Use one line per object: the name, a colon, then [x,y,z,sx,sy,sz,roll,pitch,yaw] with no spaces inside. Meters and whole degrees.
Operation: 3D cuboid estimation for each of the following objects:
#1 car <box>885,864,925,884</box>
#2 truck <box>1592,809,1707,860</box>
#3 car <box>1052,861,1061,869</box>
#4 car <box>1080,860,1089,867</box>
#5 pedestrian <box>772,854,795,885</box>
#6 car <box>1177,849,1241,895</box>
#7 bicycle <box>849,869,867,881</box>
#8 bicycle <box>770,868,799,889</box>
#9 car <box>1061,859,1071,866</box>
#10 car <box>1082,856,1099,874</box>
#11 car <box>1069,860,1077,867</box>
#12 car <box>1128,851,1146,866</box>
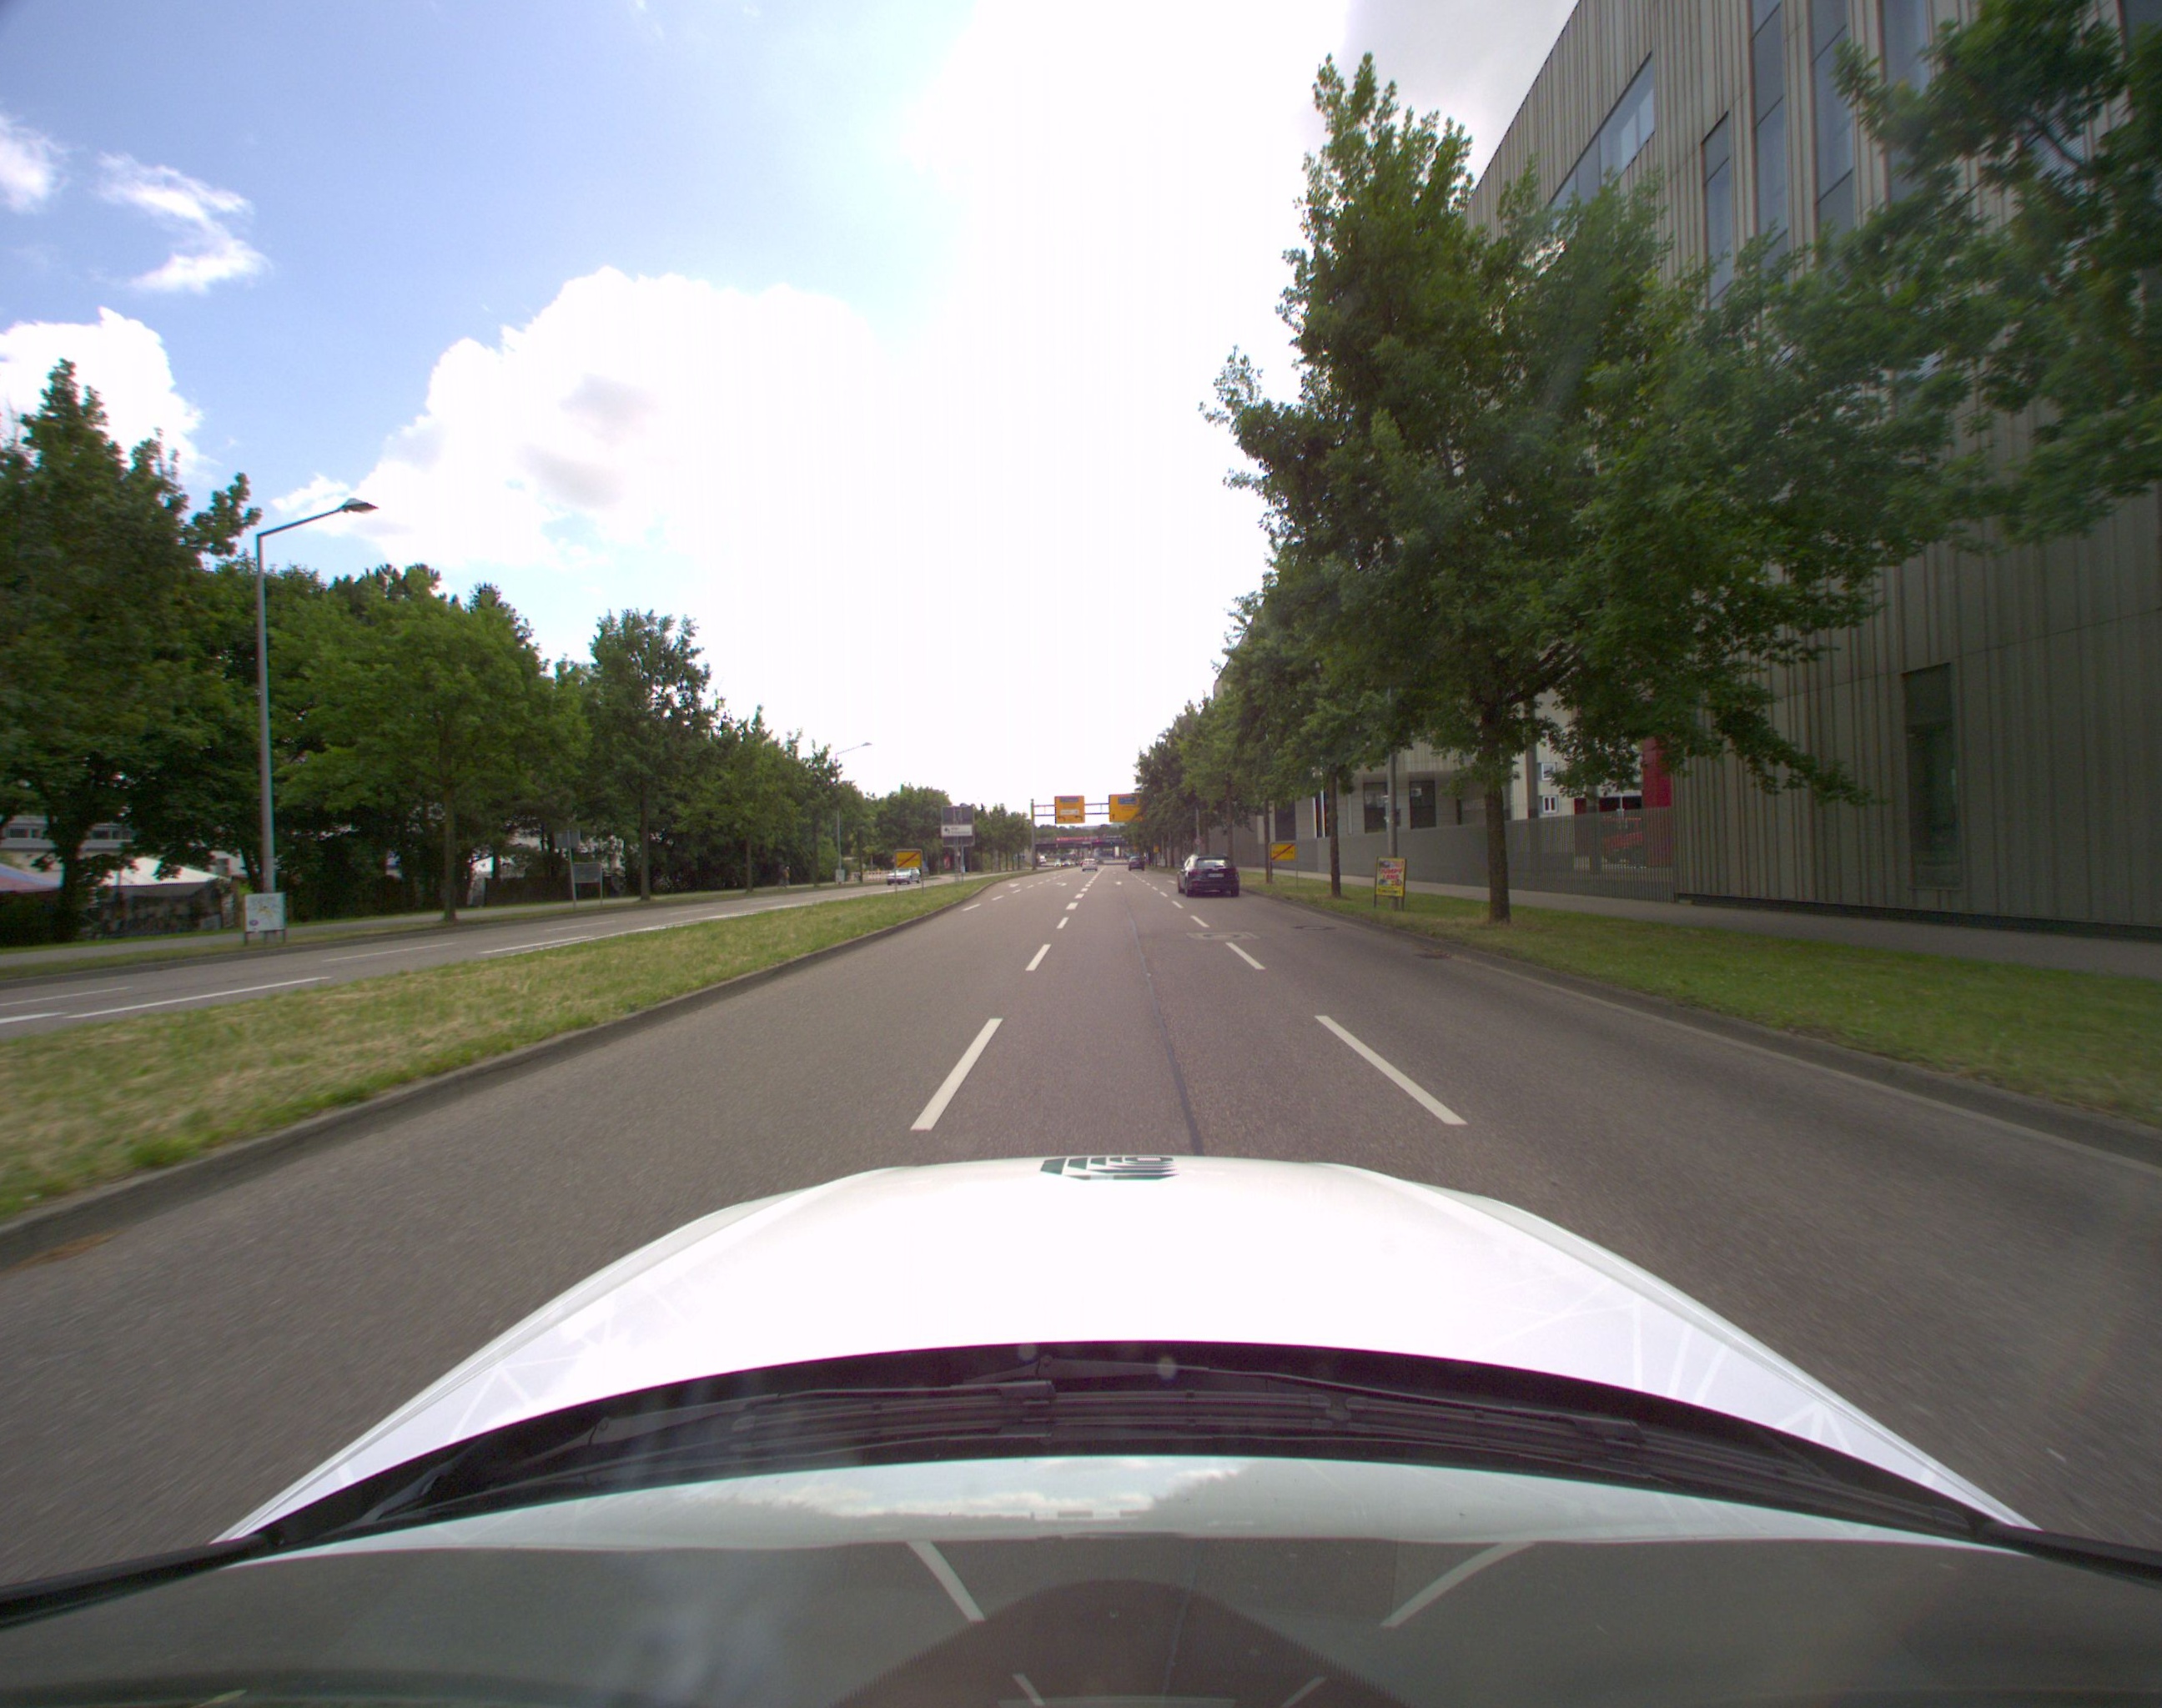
car: [-13.152,1.479,61.005,1.632,1.329,4.388,-2,0,5]
truck: [35.978,-1.219,51.641,5.673,3.069,2.318,0,-2,0]
car: [-6.269,2.821,207.347,1.986,1.783,4.000,0,-1,1]
car: [0.701,1.965,171.801,1.768,1.463,3.999,-1,0,-1]
pedestrian: [-19.748,0.995,54.051,0.966,2.013,1.250,-2,0,3]
car: [4.427,0.602,28.598,1.678,1.463,4.000,-1,0,1]
bicycle: [-22.538,2.129,82.305,0.888,1.059,2.337,-2,-1,-38]
bicycle: [-19.700,1.610,54.172,0.804,1.226,2.504,-2,0,3]
car: [-3.590,2.124,197.292,1.985,1.618,4.003,-2,0,3]
car: [1.117,1.283,97.506,1.987,2.014,3.999,-1,0,-1]
car: [-2.233,2.566,223.590,1.986,1.717,4.001,0,-1,2]
car: [6.555,0.474,95.572,1.984,1.626,4.314,-3,0,4]
